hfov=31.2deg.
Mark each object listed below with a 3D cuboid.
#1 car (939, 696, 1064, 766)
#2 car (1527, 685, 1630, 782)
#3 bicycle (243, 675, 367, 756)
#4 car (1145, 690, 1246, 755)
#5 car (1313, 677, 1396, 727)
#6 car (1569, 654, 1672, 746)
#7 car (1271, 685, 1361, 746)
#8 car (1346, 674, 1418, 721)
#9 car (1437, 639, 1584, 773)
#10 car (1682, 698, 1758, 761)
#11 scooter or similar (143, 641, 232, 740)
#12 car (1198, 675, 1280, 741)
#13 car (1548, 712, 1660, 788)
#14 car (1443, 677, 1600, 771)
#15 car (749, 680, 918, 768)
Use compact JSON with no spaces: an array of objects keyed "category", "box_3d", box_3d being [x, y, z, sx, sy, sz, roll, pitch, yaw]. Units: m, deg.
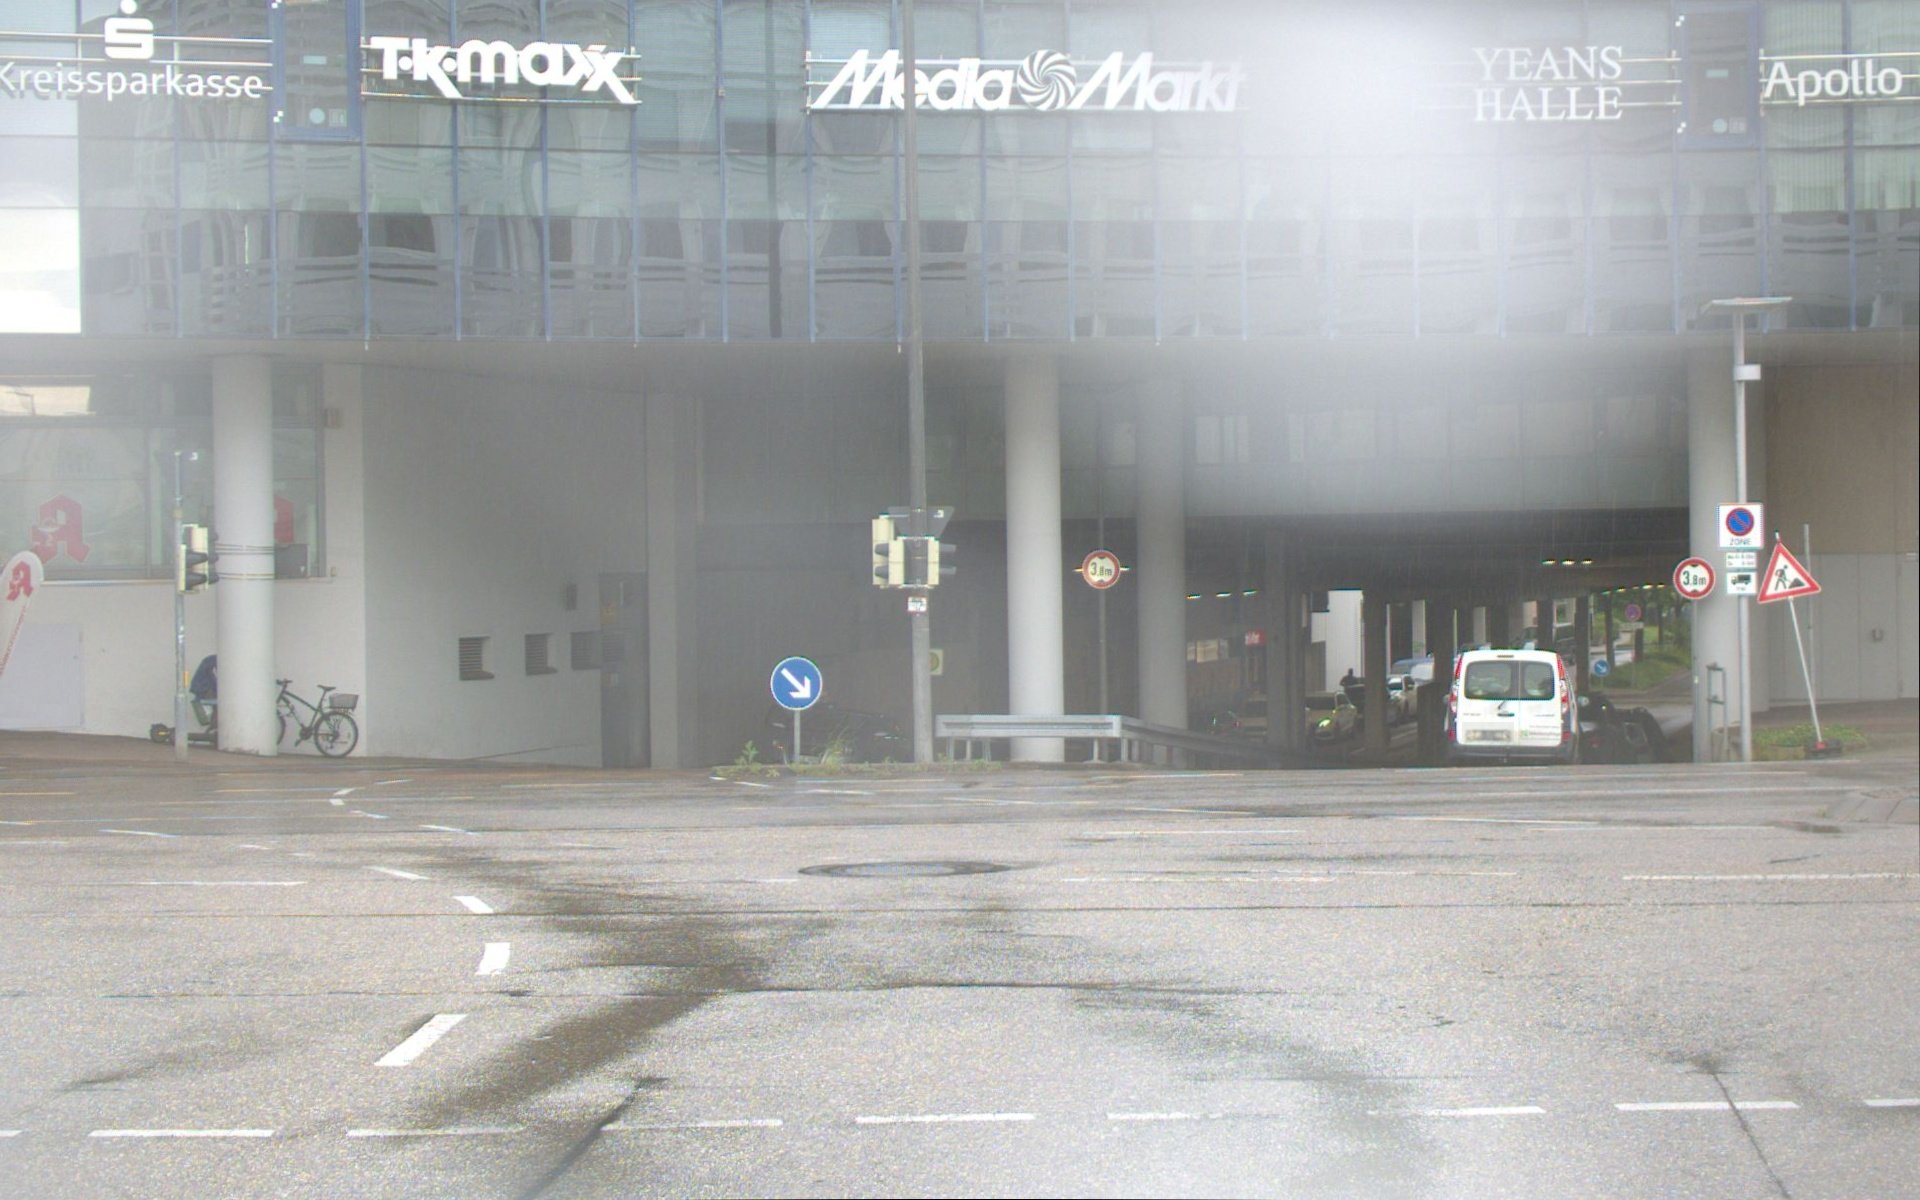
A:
[{"category":"car","box_3d":[0.925,2.841,74.434,1.772,1.459,3.872,-1,-2,15]},{"category":"car","box_3d":[11.009,2.403,61.033,1.633,1.606,4.259,-2,-4,12]},{"category":"bicycle","box_3d":[-9.273,1.636,48.724,1.581,1.014,0.452,6,-2,-31]},{"category":"car","box_3d":[6.282,3.228,91.296,1.916,1.582,3.936,-1,-1,15]},{"category":"car","box_3d":[12.591,3.229,109.519,1.995,1.459,3.997,-1,-1,15]},{"category":"car","box_3d":[13.624,2.042,70.761,1.792,1.764,3.997,-1,-1,14]},{"category":"car","box_3d":[10.568,3.402,101.883,1.995,1.658,3.997,1,0,15]},{"category":"car","box_3d":[14.087,3.235,114.602,1.994,1.459,3.998,-1,0,13]},{"category":"car","box_3d":[7.829,1.484,48.622,1.926,1.791,4.294,-1,-1,10]},{"category":"car","box_3d":[20.117,3.399,90.907,1.889,1.486,3.838,1,0,13]},{"category":"scooter or similar","box_3d":[-10.835,1.264,48.212,1.166,1.368,0.489,1,0,-15]},{"category":"car","box_3d":[7.825,2.997,96.095,1.837,1.722,3.998,0,0,11]},{"category":"car","box_3d":[12.395,2.903,66.056,1.781,1.396,3.996,-1,-3,15]},{"category":"car","box_3d":[9.211,2.051,56.226,1.759,1.459,3.938,-2,-3,21]},{"category":"car","box_3d":[-2.258,2.278,62.527,1.894,1.465,4.023,-1,-4,16]}]
